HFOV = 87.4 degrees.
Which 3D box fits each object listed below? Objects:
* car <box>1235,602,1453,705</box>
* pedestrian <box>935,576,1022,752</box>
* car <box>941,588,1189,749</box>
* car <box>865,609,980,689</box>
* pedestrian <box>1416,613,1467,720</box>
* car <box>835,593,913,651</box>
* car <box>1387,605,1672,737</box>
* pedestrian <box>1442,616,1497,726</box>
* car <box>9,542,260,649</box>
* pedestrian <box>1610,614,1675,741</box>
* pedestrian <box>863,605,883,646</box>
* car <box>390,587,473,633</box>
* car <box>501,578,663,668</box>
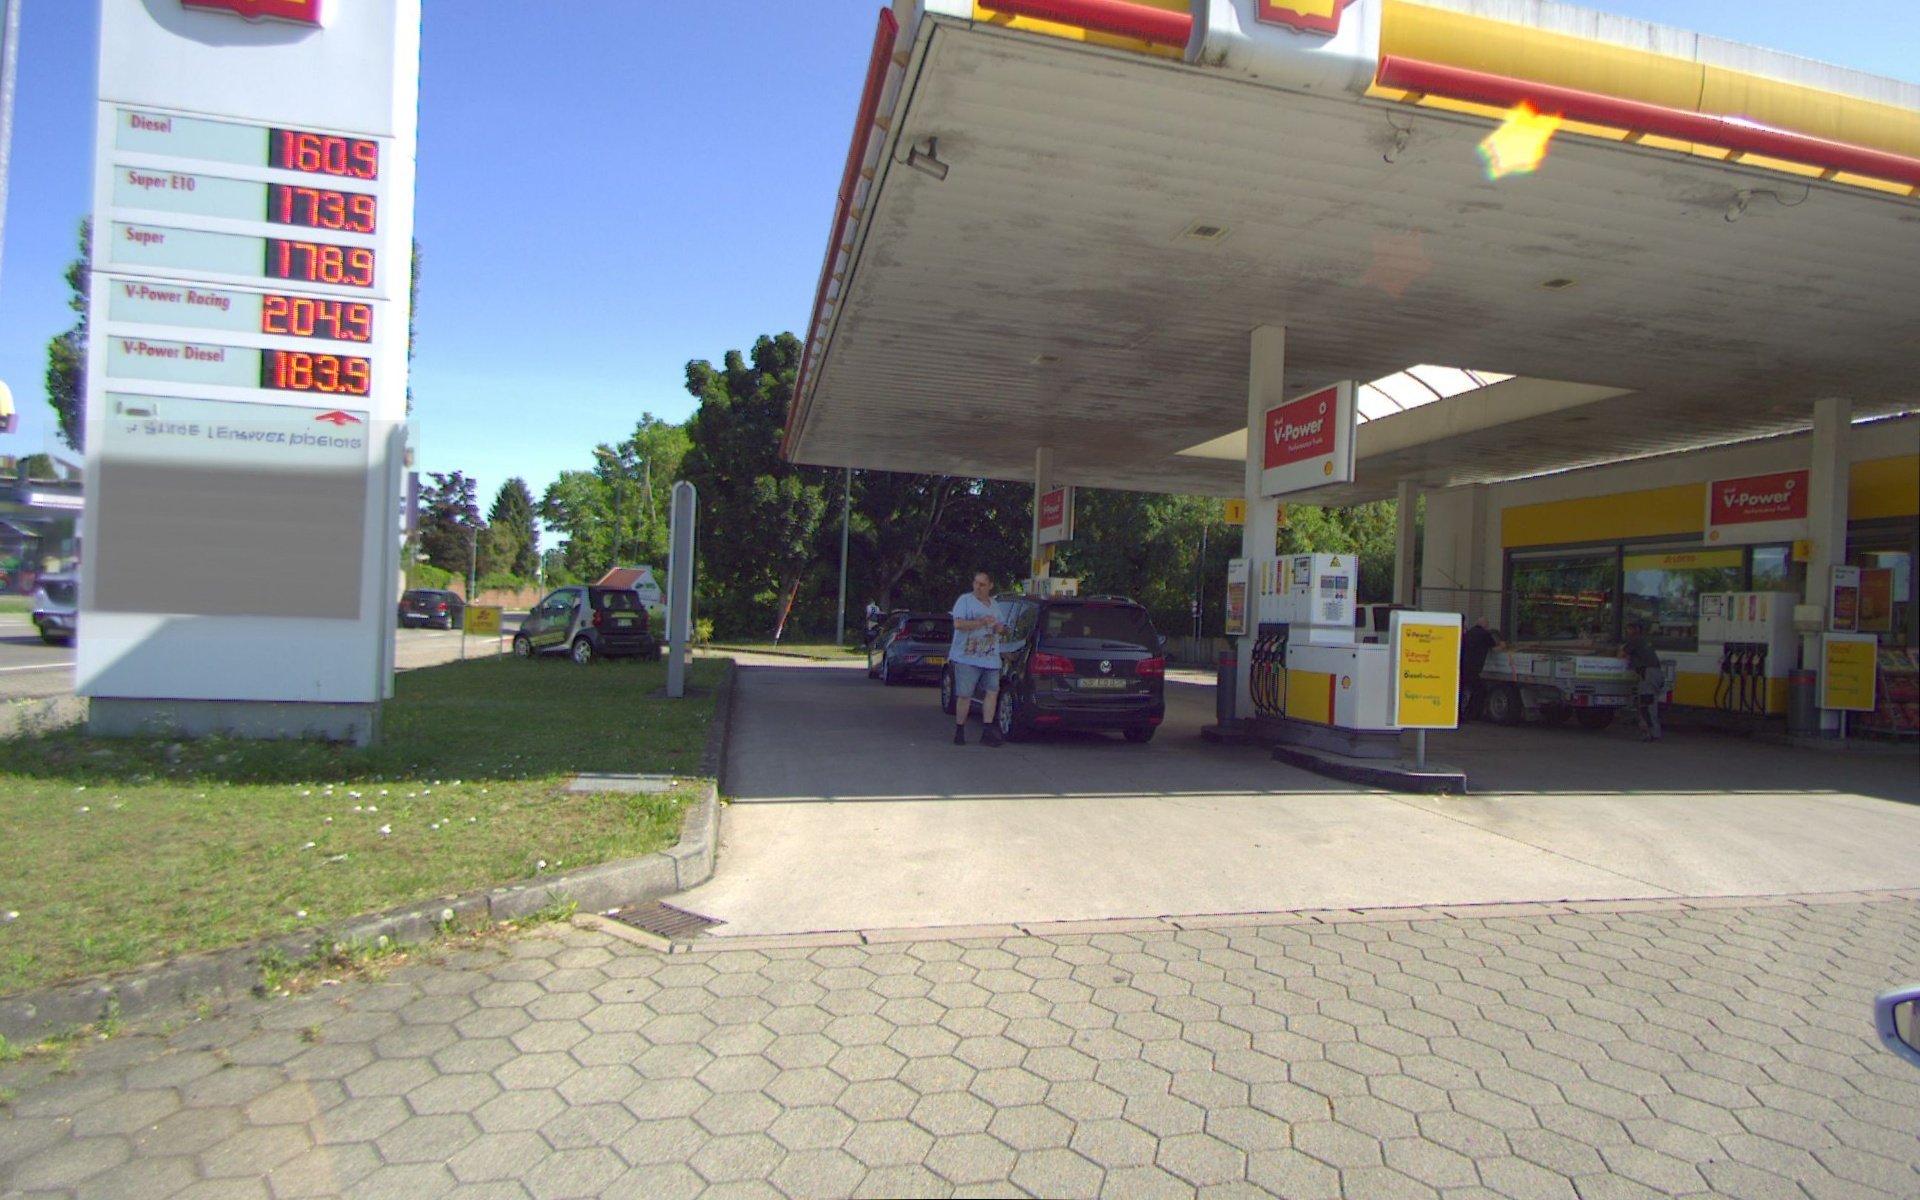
[{"bbox_3d":[7.826,1.030,21.049,1.826,1.862,4.767,3,-1,-14],"label":"car"},{"bbox_3d":[0.181,0.658,10.523,0.662,1.752,0.810,3,-1,-12],"label":"pedestrian"},{"bbox_3d":[1.076,0.738,12.202,1.735,1.599,3.867,3,-1,-14],"label":"car"},{"bbox_3d":[-0.856,0.925,20.199,1.771,1.378,3.841,3,-1,-10],"label":"car"},{"bbox_3d":[7.616,1.042,15.888,0.492,1.653,0.475,3,-1,-9],"label":"pedestrian"},{"bbox_3d":[-3.125,0.762,35.668,1.967,1.788,3.988,5,-2,-15],"label":"car"},{"bbox_3d":[8.726,1.030,15.835,1.800,1.750,3.994,3,-2,-9],"label":"car"},{"bbox_3d":[7.642,1.057,15.073,0.492,1.614,0.475,3,-1,-9],"label":"pedestrian"},{"bbox_3d":[-15.293,-0.044,18.960,1.783,1.670,4.297,4,-1,-12],"label":"car"},{"bbox_3d":[9.271,1.040,13.657,0.467,1.690,0.500,3,-1,-11],"label":"pedestrian"},{"bbox_3d":[-3.345,0.974,38.550,0.665,1.557,0.393,3,-1,-9],"label":"pedestrian"},{"bbox_3d":[-19.420,0.354,37.080,1.624,1.449,4.044,5,-1,-13],"label":"car"},{"bbox_3d":[-7.369,0.451,19.577,2.683,1.550,1.575,2,-3,32],"label":"car"}]
